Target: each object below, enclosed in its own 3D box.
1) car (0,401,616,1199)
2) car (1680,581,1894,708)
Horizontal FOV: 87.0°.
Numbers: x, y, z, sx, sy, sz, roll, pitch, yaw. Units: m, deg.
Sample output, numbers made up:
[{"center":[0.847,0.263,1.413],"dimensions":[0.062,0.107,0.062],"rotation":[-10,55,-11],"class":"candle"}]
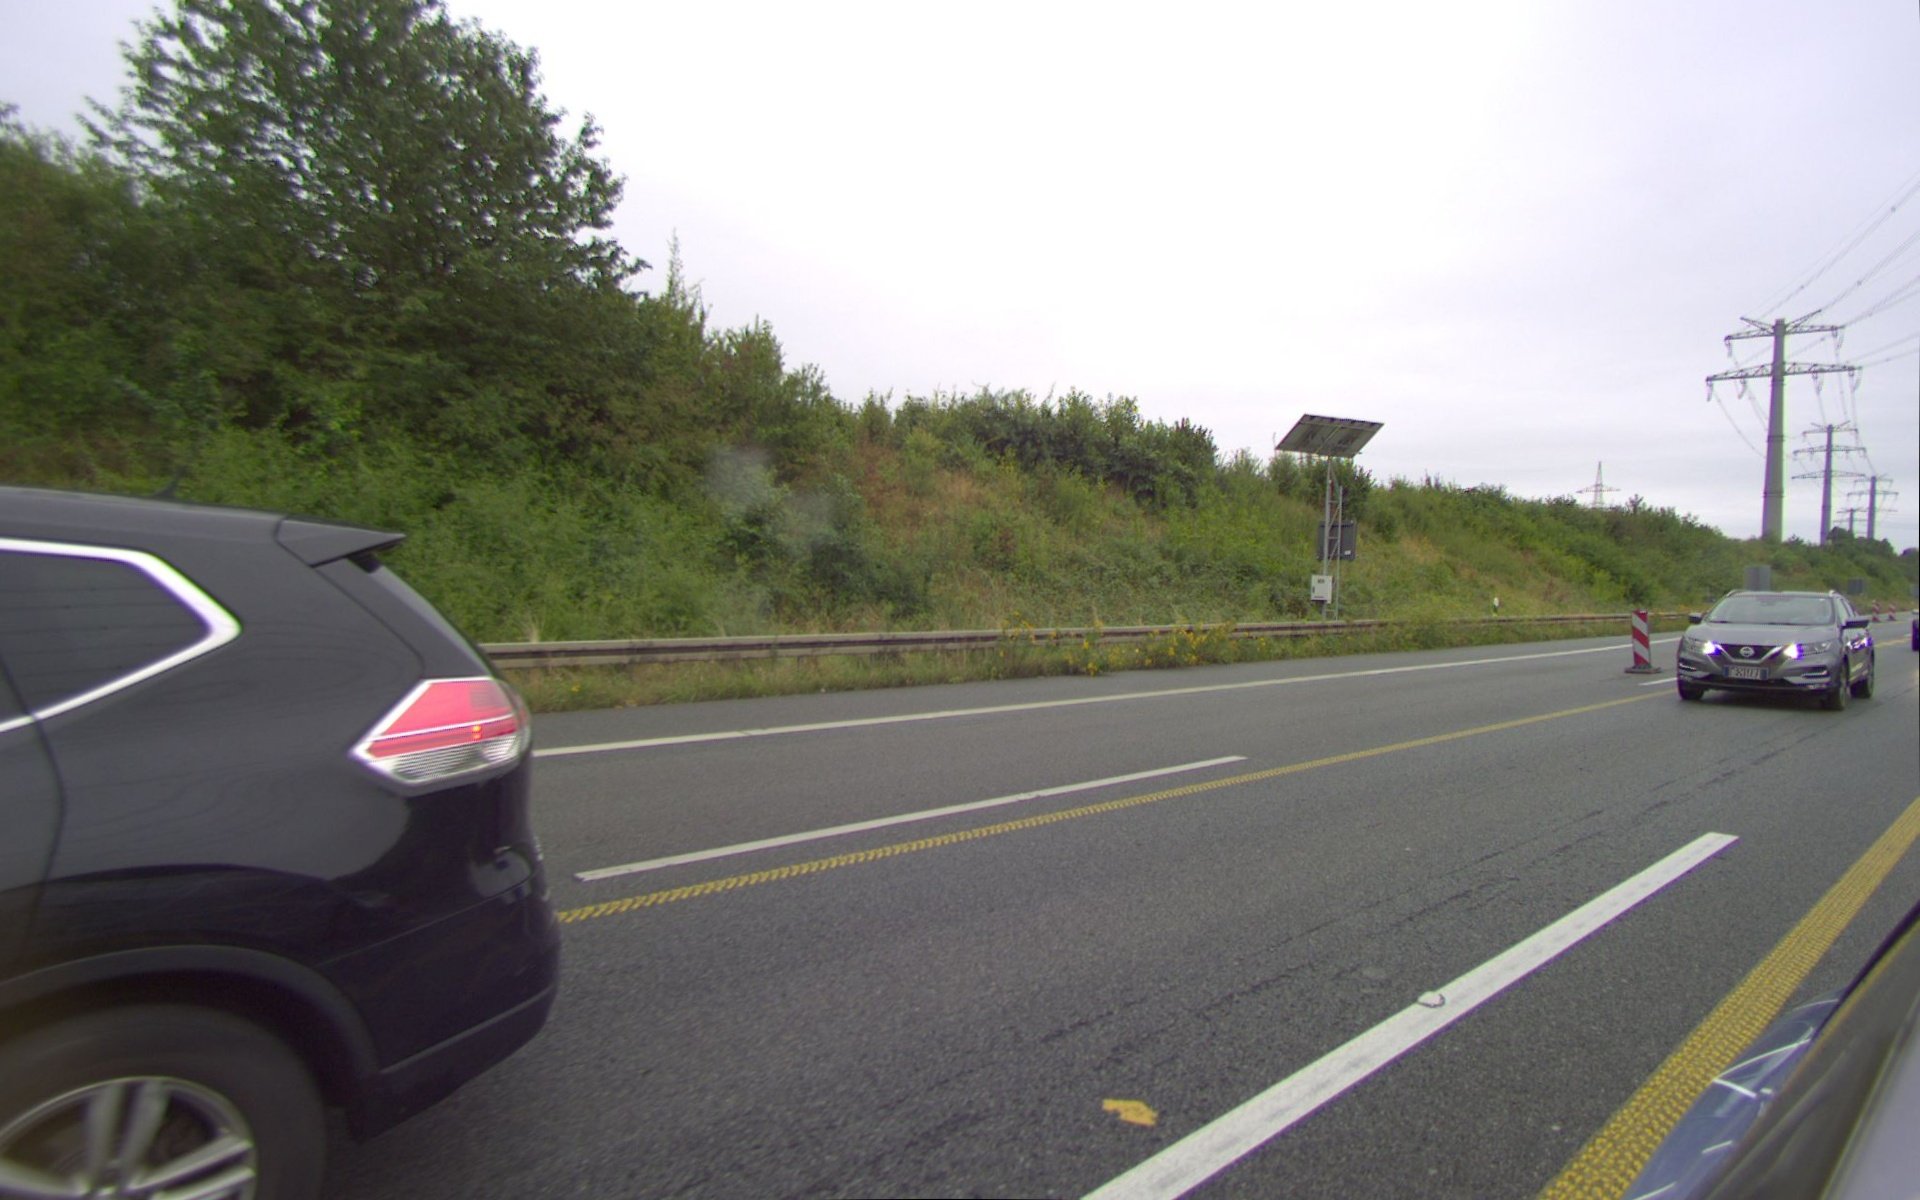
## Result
[{"center":[-2.903,0.510,1.525],"dimensions":[4.207,1.679,1.687],"rotation":[0,1,-42],"class":"car"},{"center":[11.928,0.528,14.500],"dimensions":[4.079,1.552,1.802],"rotation":[0,1,-42],"class":"car"}]
